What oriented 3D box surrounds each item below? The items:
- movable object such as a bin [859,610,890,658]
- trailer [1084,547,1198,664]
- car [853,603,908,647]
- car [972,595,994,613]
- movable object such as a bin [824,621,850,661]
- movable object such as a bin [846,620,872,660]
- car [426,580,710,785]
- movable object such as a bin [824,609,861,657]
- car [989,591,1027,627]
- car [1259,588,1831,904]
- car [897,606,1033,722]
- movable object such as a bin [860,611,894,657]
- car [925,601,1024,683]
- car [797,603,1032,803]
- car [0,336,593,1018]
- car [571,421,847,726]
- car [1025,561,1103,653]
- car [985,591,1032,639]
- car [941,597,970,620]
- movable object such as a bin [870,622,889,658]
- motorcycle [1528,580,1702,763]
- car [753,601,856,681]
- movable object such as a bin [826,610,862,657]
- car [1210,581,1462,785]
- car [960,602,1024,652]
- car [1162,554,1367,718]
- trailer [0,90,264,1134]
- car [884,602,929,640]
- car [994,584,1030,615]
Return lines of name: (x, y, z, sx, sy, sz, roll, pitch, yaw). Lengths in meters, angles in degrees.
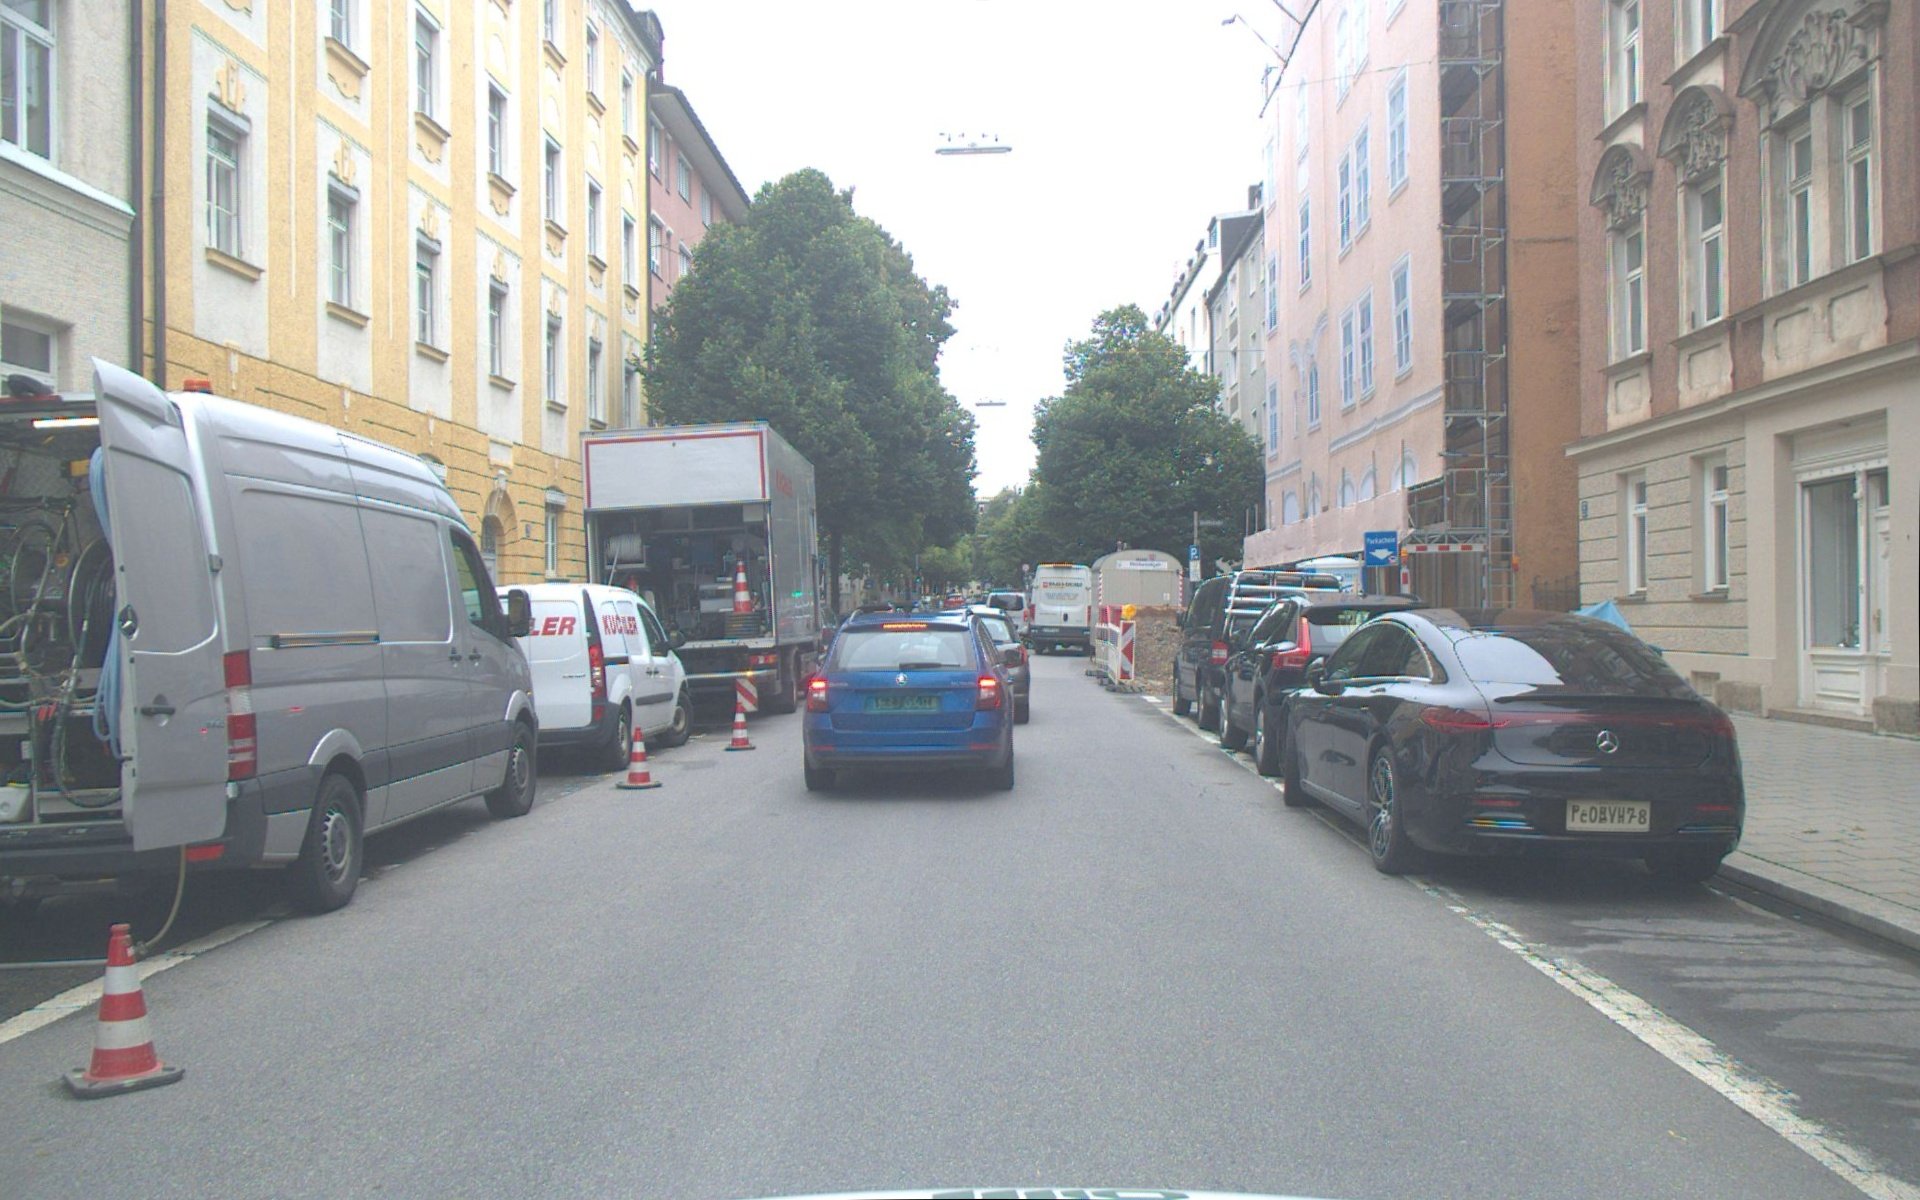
movable object such as a bin: (-2.612, 1.038, 50.676, 0.899, 1.400, 1.079, -2, 0, -3)
trailer: (4.764, 0.175, 44.657, 2.450, 2.890, 6.902, 1, -1, 1)
car: (-2.767, 0.859, 58.502, 1.775, 1.504, 3.999, 0, 0, -1)
car: (2.217, 0.401, 158.410, 1.966, 1.682, 4.348, 1, 0, 2)
movable object such as a bin: (-3.688, 1.222, 49.721, 0.706, 1.158, 0.658, -3, 0, -2)
movable object such as a bin: (-3.034, 1.192, 49.766, 0.697, 1.168, 0.636, -2, 0, -2)
car: (-3.929, 0.768, 17.364, 1.726, 1.810, 4.328, -2, 0, 2)
movable object such as a bin: (-3.590, 1.015, 50.608, 1.060, 1.400, 1.083, -2, 0, -3)
car: (2.350, 0.402, 81.129, 1.829, 1.682, 4.348, 1, 0, 1)
car: (3.438, 0.733, 11.093, 1.891, 1.580, 5.637, 0, 0, 0)
car: (0.136, 0.824, 22.766, 1.705, 1.446, 3.665, -1, -1, 2)
movable object such as a bin: (-2.598, 1.055, 51.774, 1.000, 1.400, 1.103, -2, 0, -3)
car: (0.296, 0.790, 33.135, 1.829, 1.479, 4.347, 1, 0, 0)
car: (-0.295, 0.792, 14.643, 1.752, 1.486, 4.315, -1, 0, 1)
car: (-4.135, 0.364, 9.945, 2.014, 2.632, 6.877, -5, 0, 1)
car: (-3.547, -0.316, 25.714, 2.754, 3.884, 8.724, -1, 0, 1)
car: (3.324, 0.239, 51.779, 2.068, 2.710, 5.504, 1, -1, 7)
car: (2.001, 0.593, 68.174, 1.829, 1.902, 4.348, 1, 0, 2)
car: (-0.323, 0.628, 124.877, 1.966, 1.682, 4.348, 1, 0, 2)
movable object such as a bin: (-2.427, 1.207, 49.817, 0.535, 1.038, 0.636, -2, 0, -2)
motorcycle: (5.824, 0.604, 14.845, 0.853, 1.531, 1.998, 0, 0, 3)
car: (-3.446, 0.879, 37.375, 1.748, 1.657, 4.186, -2, 0, 2)
movable object such as a bin: (-3.634, 1.043, 51.709, 1.036, 1.400, 1.095, -2, 0, -3)
car: (3.620, 0.748, 16.666, 1.658, 1.706, 4.409, 2, -1, 2)
car: (0.991, 0.787, 49.559, 1.829, 1.372, 4.348, 1, 0, 2)
car: (3.980, 0.549, 22.493, 2.039, 1.955, 5.141, 1, -3, 2)
trailer: (-4.297, 0.109, 2.448, 2.745, 3.020, 7.603, -4, 0, 4)
car: (-2.211, 0.853, 69.228, 1.775, 1.504, 3.999, 0, 0, -1)
car: (2.966, -0.049, 93.120, 1.966, 1.682, 4.348, 1, 0, 2)
